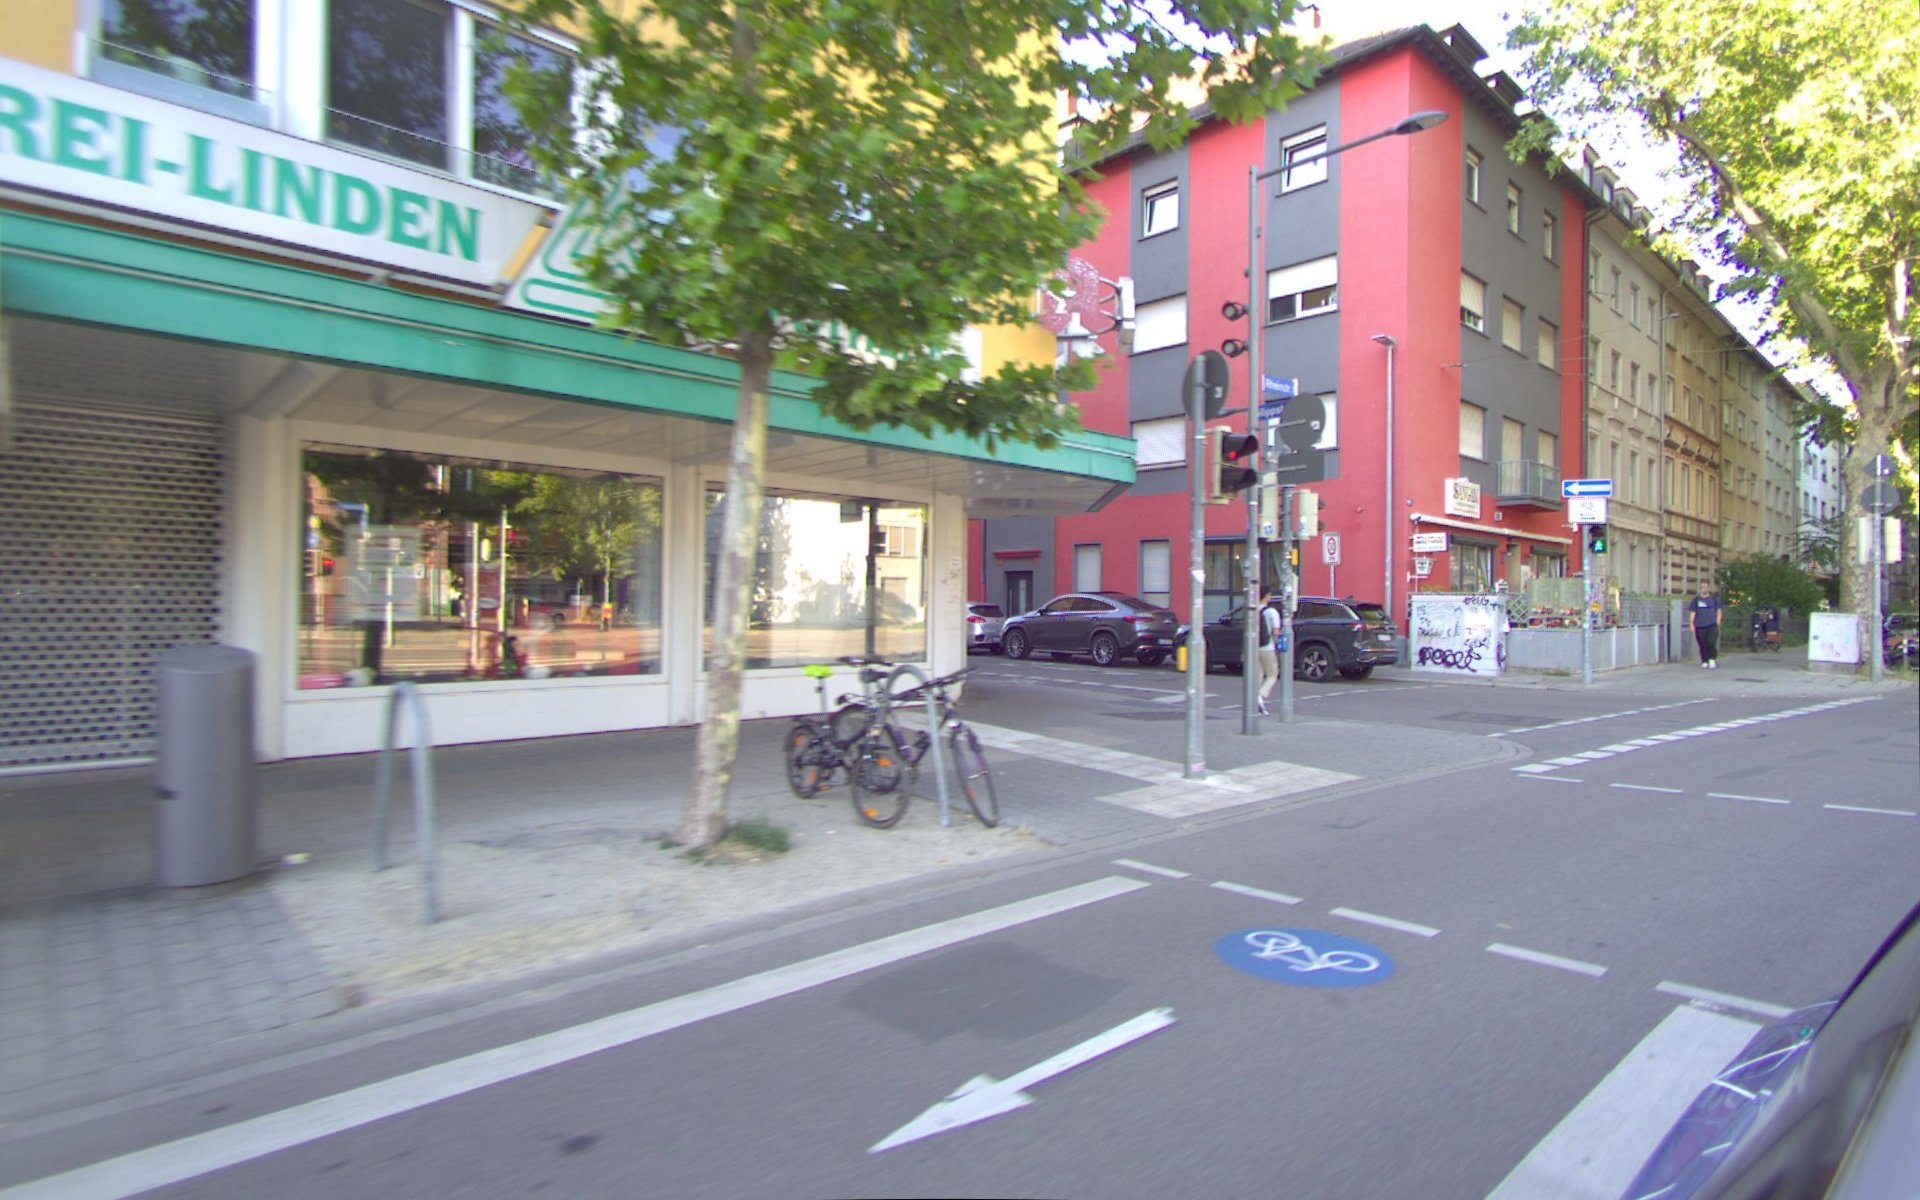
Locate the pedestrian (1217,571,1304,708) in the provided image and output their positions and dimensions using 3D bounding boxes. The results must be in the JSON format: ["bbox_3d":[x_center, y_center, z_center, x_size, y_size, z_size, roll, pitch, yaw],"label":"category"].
[{"bbox_3d":[4.140,0.543,13.932,0.879,1.803,0.744,5,-3,-42],"label":"pedestrian"}]

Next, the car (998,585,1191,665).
[{"bbox_3d":[3.163,0.523,24.549,1.742,1.762,4.608,1,0,-42],"label":"car"}]

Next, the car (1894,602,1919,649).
[{"bbox_3d":[32.287,0.841,33.460,4.438,1.473,1.800,0,3,-44],"label":"car"}]

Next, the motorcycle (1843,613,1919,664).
[{"bbox_3d":[22.551,0.941,24.300,1.857,1.125,0.784,3,0,6],"label":"motorcycle"}]

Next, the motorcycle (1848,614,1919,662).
[{"bbox_3d":[24.105,0.981,25.705,2.187,1.125,0.659,3,0,21],"label":"motorcycle"}]

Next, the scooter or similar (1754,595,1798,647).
[{"bbox_3d":[24.512,0.615,30.382,2.501,1.488,0.665,0,0,-42],"label":"scooter or similar"}]

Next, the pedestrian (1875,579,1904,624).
[{"bbox_3d":[33.990,0.049,37.003,0.690,1.600,0.727,0,0,-42],"label":"pedestrian"}]

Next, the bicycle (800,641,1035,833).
[{"bbox_3d":[-0.349,0.867,6.997,0.532,1.020,1.799,0,2,-45],"label":"bicycle"}]

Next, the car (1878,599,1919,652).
[{"bbox_3d":[27.983,0.731,29.182,4.295,1.419,1.801,0,3,-42],"label":"car"}]

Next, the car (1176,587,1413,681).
[{"bbox_3d":[6.742,0.606,20.757,1.742,1.708,4.347,1,0,-42],"label":"car"}]

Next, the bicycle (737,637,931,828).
[{"bbox_3d":[-0.871,0.816,6.710,0.447,1.020,1.484,0,2,-45],"label":"bicycle"}]

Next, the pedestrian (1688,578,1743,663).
[{"bbox_3d":[16.161,0.417,21.651,0.802,1.731,0.727,0,3,-42],"label":"pedestrian"}]

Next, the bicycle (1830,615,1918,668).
[{"bbox_3d":[21.134,0.947,23.403,1.762,1.125,0.622,3,0,-15],"label":"bicycle"}]

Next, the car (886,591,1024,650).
[{"bbox_3d":[-0.195,0.521,28.449,1.743,1.504,3.804,0,0,-44],"label":"car"}]
